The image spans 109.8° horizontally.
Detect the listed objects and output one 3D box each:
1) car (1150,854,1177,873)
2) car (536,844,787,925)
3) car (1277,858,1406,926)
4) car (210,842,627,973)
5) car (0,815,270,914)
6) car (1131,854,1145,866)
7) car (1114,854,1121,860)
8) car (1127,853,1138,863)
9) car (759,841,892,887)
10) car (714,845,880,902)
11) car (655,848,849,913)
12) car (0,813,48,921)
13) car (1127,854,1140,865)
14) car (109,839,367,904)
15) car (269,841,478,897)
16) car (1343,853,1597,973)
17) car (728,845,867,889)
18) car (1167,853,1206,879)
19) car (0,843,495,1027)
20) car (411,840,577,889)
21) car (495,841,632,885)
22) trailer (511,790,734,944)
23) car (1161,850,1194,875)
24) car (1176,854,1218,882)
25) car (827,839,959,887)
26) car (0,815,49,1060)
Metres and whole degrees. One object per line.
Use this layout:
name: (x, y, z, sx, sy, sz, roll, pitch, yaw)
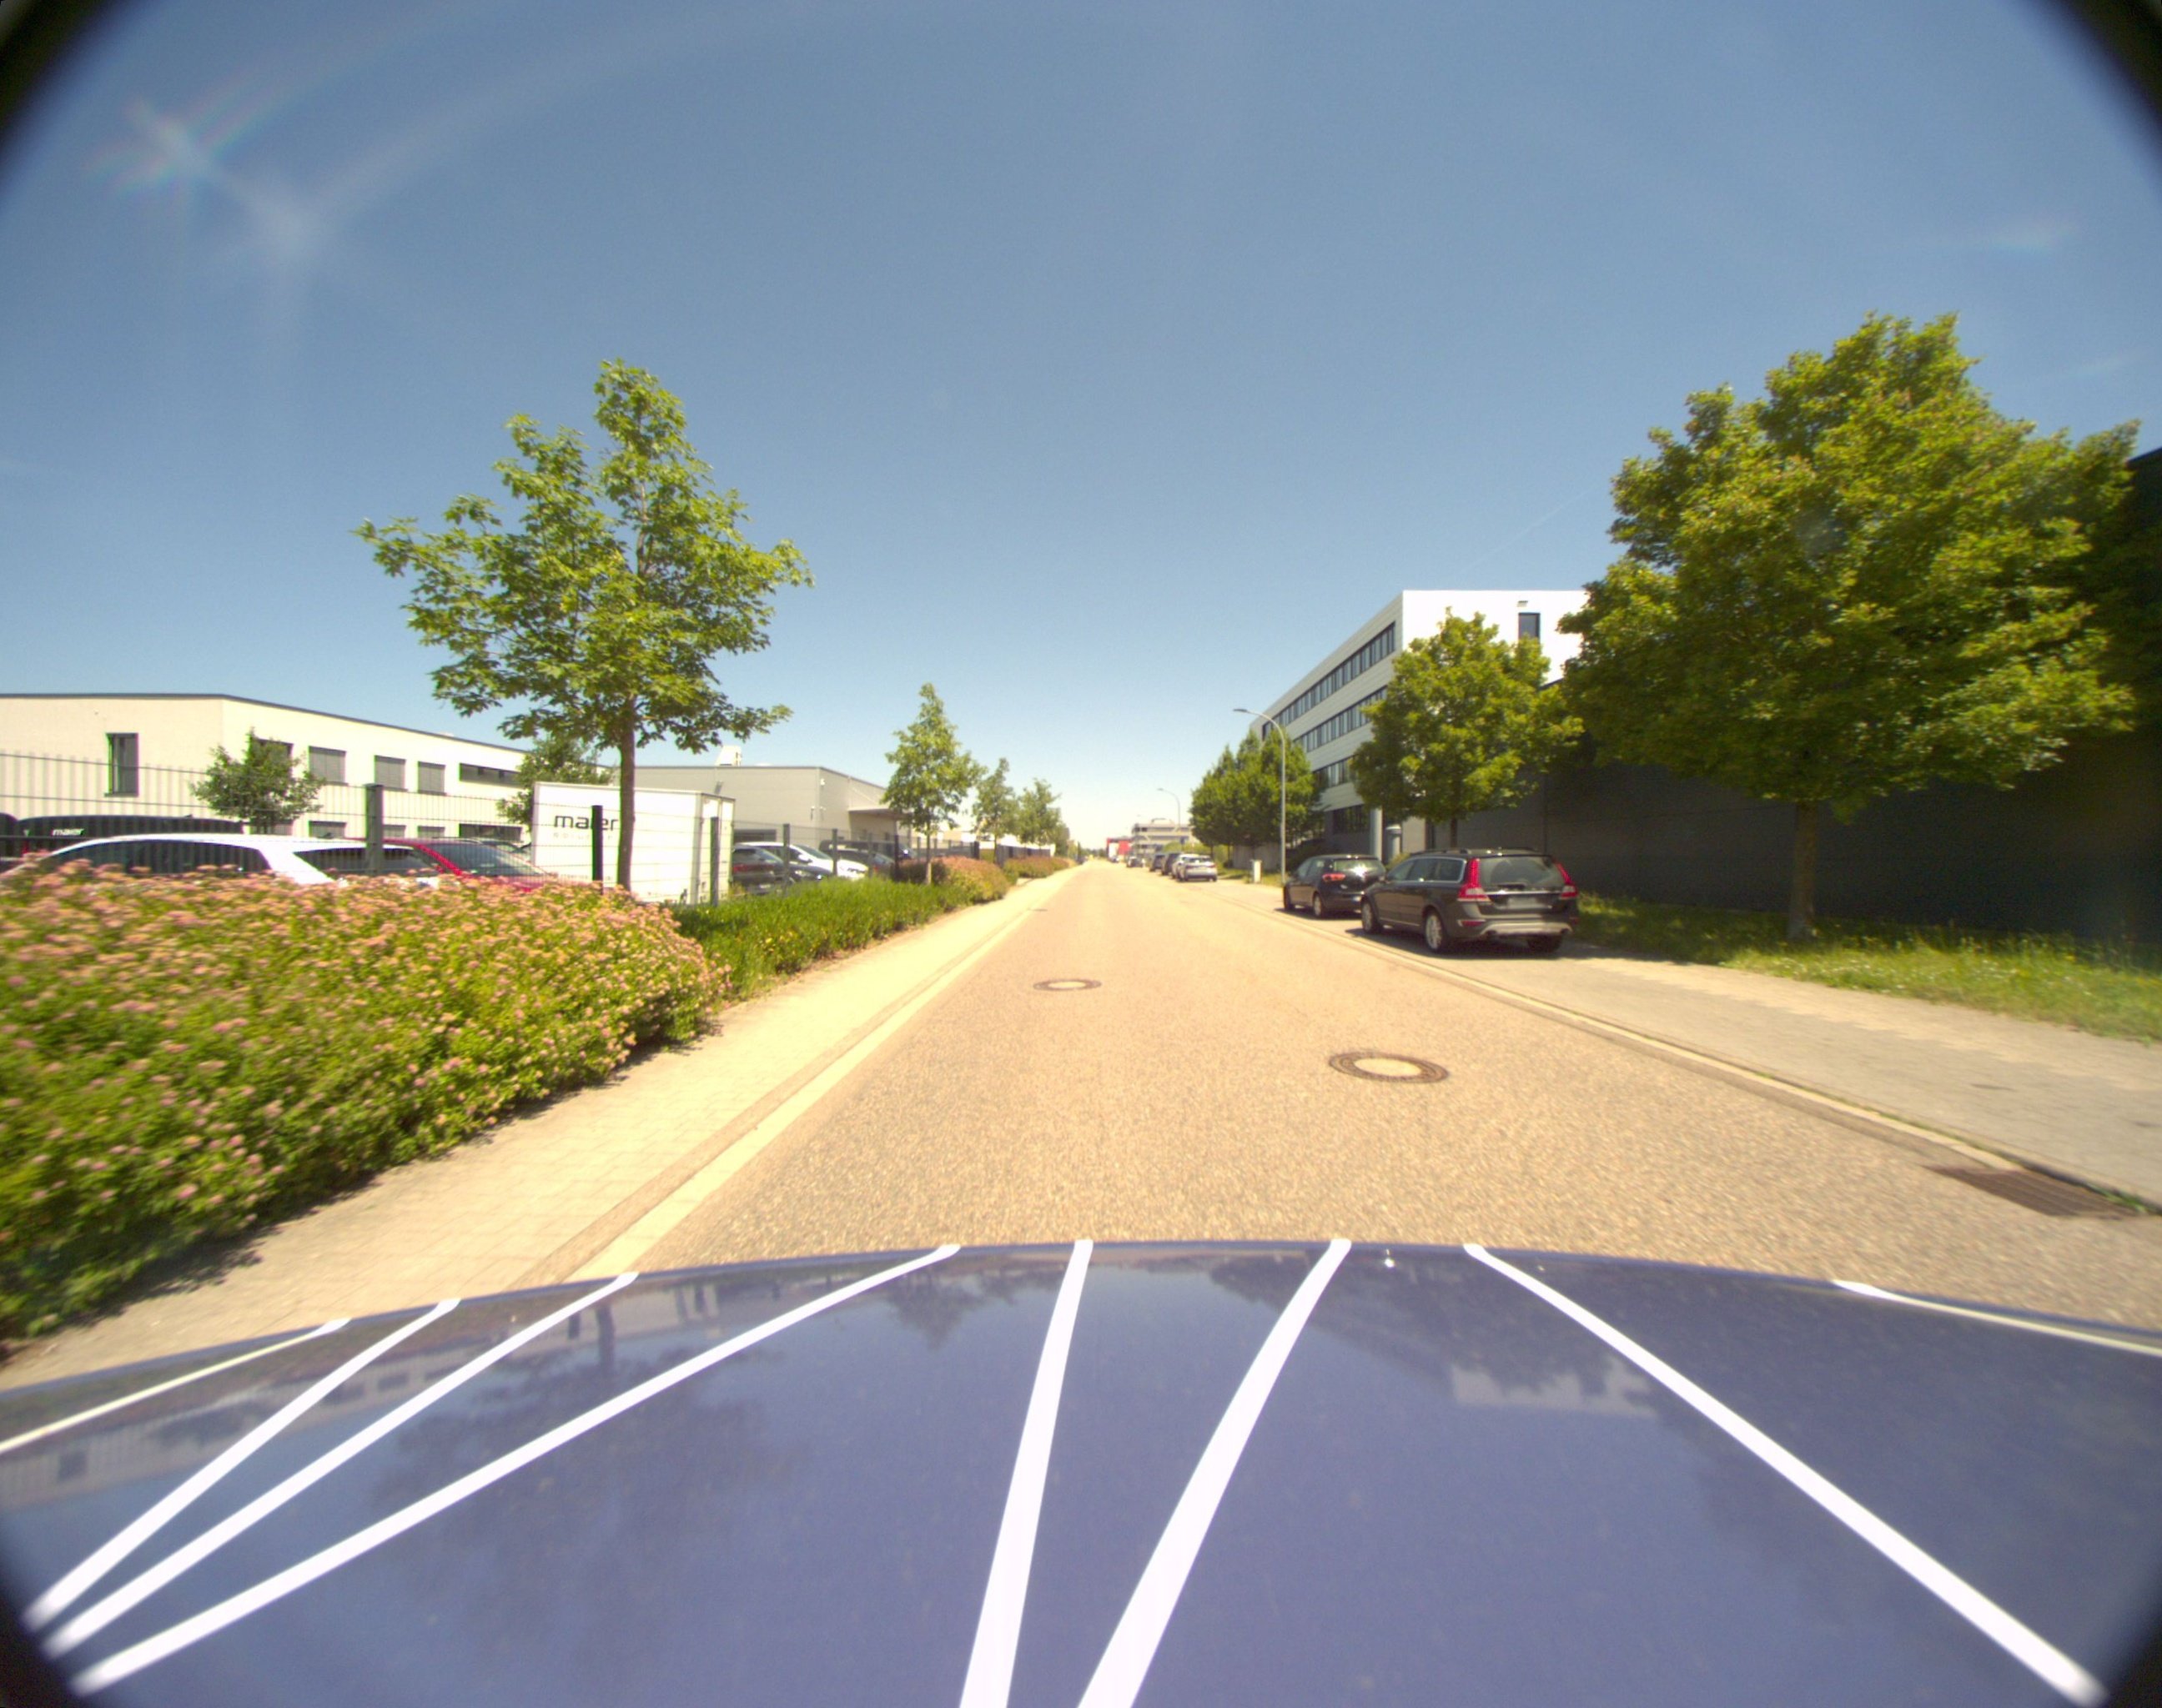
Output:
car: (7.200, 0.782, 66.357, 1.775, 1.578, 4.481, -1, 0, -1)
car: (-8.416, 0.576, 15.515, 4.051, 1.495, 1.918, 1, 1, 0)
car: (6.288, 0.855, 18.868, 1.775, 1.422, 4.200, -1, 0, 0)
car: (-8.486, 0.637, 10.009, 3.900, 1.467, 1.806, 2, 1, 1)
car: (-19.060, 0.178, 14.992, 4.051, 1.789, 1.918, 1, 1, 0)
car: (7.921, 0.828, 105.856, 1.678, 1.442, 4.069, -3, 0, 1)
car: (10.392, 0.869, 217.007, 1.694, 1.481, 3.660, -2, 0, 2)
car: (8.250, 0.657, 121.758, 1.678, 1.521, 3.909, -1, 0, 1)
car: (-8.096, 0.306, 24.280, 3.674, 1.414, 1.644, 0, 1, 0)
car: (-7.924, 0.523, 21.468, 3.997, 1.513, 1.822, 0, 1, 0)
car: (-8.042, 0.617, 18.817, 4.051, 1.482, 1.743, 1, 1, 0)
car: (-19.444, 0.186, 11.849, 4.051, 1.753, 1.918, 1, 1, 0)
car: (7.972, 0.774, 115.032, 1.678, 1.521, 3.757, -3, 0, 1)
car: (-19.335, 0.376, 17.560, 4.051, 1.380, 1.724, 1, 1, 0)
car: (-18.644, 0.384, 20.146, 3.915, 1.380, 1.724, 1, 1, 0)
car: (6.141, 0.802, 12.778, 1.775, 1.602, 4.851, -1, 0, 0)
car: (-10.080, 0.443, 27.177, 4.290, 1.436, 1.755, 1, 1, 0)
car: (6.471, 0.688, 46.912, 1.775, 1.422, 4.201, -4, 0, 1)
car: (-8.146, 0.663, 7.114, 3.850, 1.432, 1.805, 2, 1, -3)
car: (-19.441, 0.333, 25.289, 4.051, 1.543, 1.918, 1, 1, 0)
car: (-19.054, 0.316, 28.073, 3.882, 1.494, 1.767, 1, 1, 4)
trailer: (-7.581, 0.215, 12.740, 2.830, 2.389, 1.419, 1, 1, -3)
car: (6.722, 0.552, 53.361, 1.775, 1.614, 4.582, -3, 0, 1)
car: (6.313, 0.724, 41.707, 1.775, 1.422, 3.940, -1, 0, 1)
car: (-7.928, 0.358, 32.418, 5.126, 1.863, 1.903, 1, 1, 0)
car: (-9.247, 0.503, 4.339, 4.263, 1.610, 1.808, 1, 1, 0)
